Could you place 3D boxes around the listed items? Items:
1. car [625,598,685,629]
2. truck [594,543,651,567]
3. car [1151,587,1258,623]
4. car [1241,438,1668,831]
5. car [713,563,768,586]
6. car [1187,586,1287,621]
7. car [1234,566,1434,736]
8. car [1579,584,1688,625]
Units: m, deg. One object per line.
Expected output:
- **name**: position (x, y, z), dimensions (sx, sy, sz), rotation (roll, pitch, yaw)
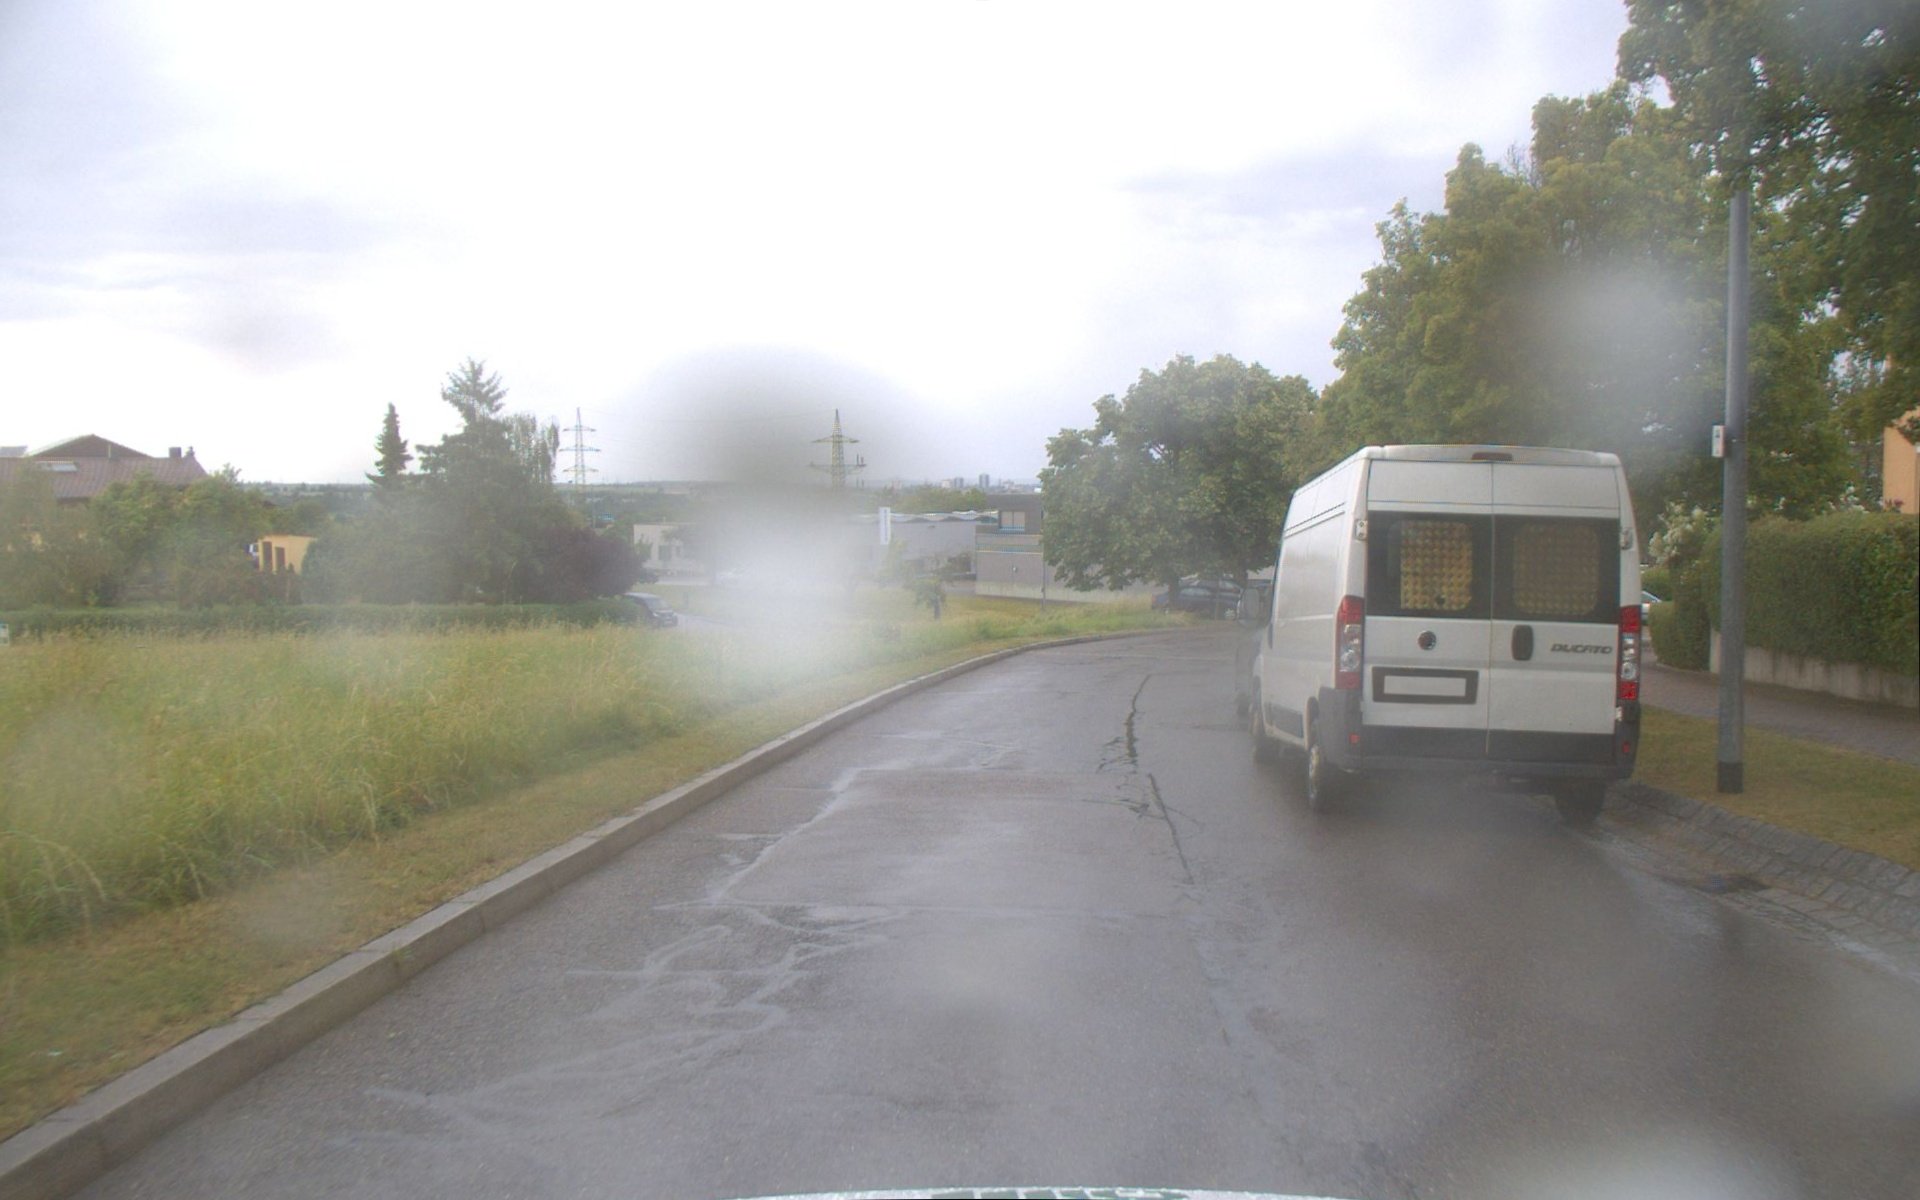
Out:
- **car**: position (-17.622, 0.779, 95.361), dimensions (1.764, 1.624, 3.945), rotation (-1, 2, -39)
- **truck**: position (-35.099, -4.689, 172.099), dimensions (5.263, 2.349, 2.408), rotation (1, 3, -33)
- **car**: position (10.091, 0.213, 68.201), dimensions (4.079, 1.379, 1.863), rotation (-1, 0, 20)
- **car**: position (3.649, 0.195, 13.411), dimensions (2.073, 2.510, 5.512), rotation (0, 0, 3)
- **car**: position (-18.572, -2.181, 140.140), dimensions (4.223, 1.731, 1.777), rotation (1, 3, -34)
- **car**: position (11.754, 0.160, 70.182), dimensions (3.904, 1.384, 1.855), rotation (-1, 0, 20)
- **car**: position (4.255, 0.490, 19.444), dimensions (1.770, 1.733, 4.602), rotation (1, 1, 6)
- **car**: position (27.566, 0.183, 67.719), dimensions (4.013, 1.593, 1.999), rotation (-1, 0, 25)
